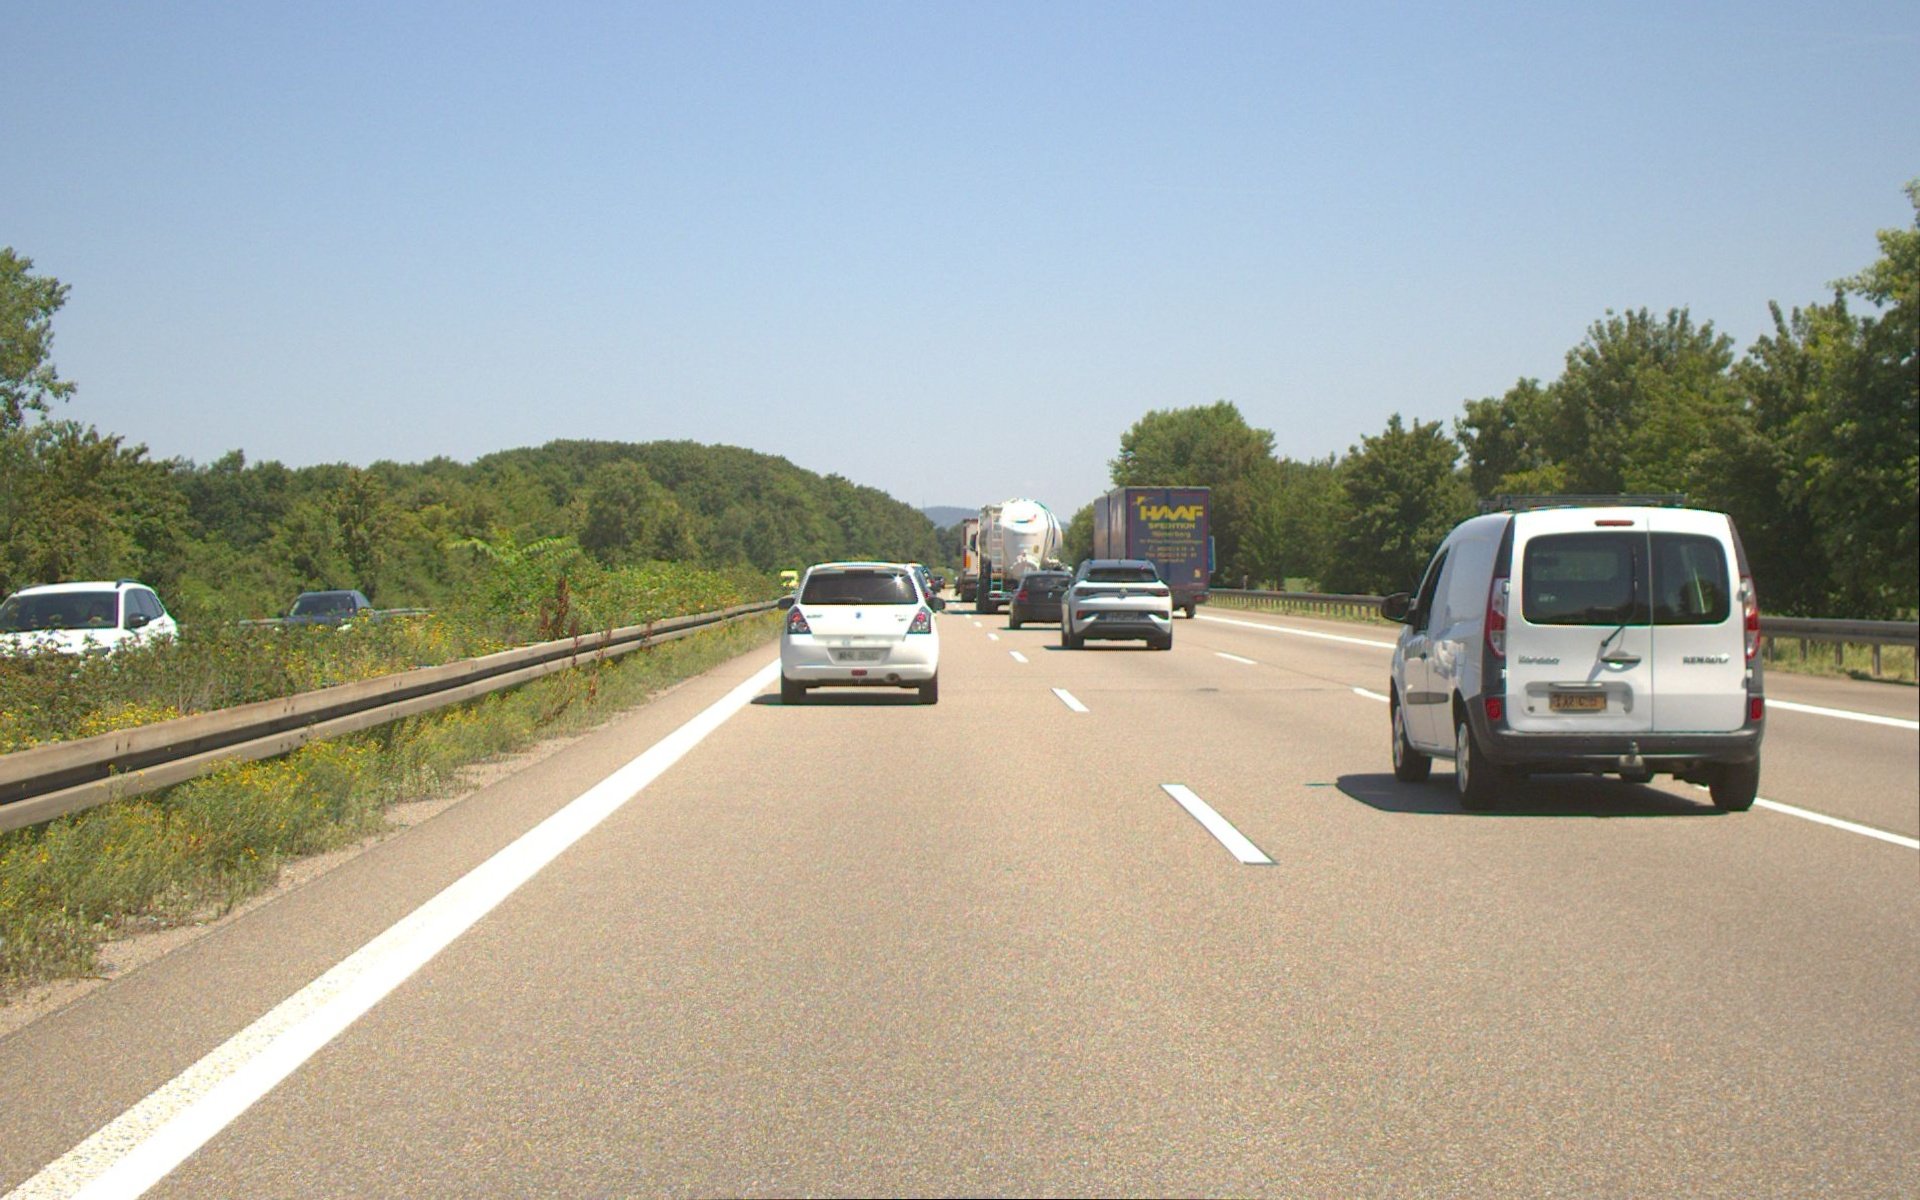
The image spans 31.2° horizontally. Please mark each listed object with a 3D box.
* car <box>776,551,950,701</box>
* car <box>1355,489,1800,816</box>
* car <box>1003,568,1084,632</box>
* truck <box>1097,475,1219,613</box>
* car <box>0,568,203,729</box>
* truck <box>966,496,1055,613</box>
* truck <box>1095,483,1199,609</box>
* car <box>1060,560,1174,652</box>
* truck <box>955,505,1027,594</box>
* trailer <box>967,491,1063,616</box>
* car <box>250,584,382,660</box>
[{"bbox_3d":[-1.049,0.251,37.620,1.799,1.547,3.610,1,1,-1],"label":"car"},{"bbox_3d":[3.806,0.280,22.041,1.853,1.856,4.702,1,1,-2],"label":"car"},{"bbox_3d":[2.017,-0.022,84.093,1.850,1.518,3.957,1,1,-1],"label":"car"},{"bbox_3d":[6.288,-1.761,111.530,3.109,4.125,15.511,1,1,0],"label":"truck"},{"bbox_3d":[-10.046,0.518,39.238,1.734,1.610,4.591,-6,1,-1],"label":"car"},{"bbox_3d":[1.768,-1.614,123.656,2.912,4.065,7.195,1,1,-1],"label":"truck"},{"bbox_3d":[6.294,-1.813,116.789,3.109,4.125,8.056,1,1,0],"label":"truck"},{"bbox_3d":[2.816,0.080,62.303,1.802,1.597,4.381,1,1,-1],"label":"car"},{"bbox_3d":[1.494,-2.465,169.325,3.394,4.199,12.083,1,1,0],"label":"truck"},{"bbox_3d":[1.820,-1.582,119.075,2.911,4.055,12.419,1,1,-1],"label":"trailer"},{"bbox_3d":[-13.722,0.442,73.497,1.957,1.463,4.752,-3,1,-1],"label":"car"}]
